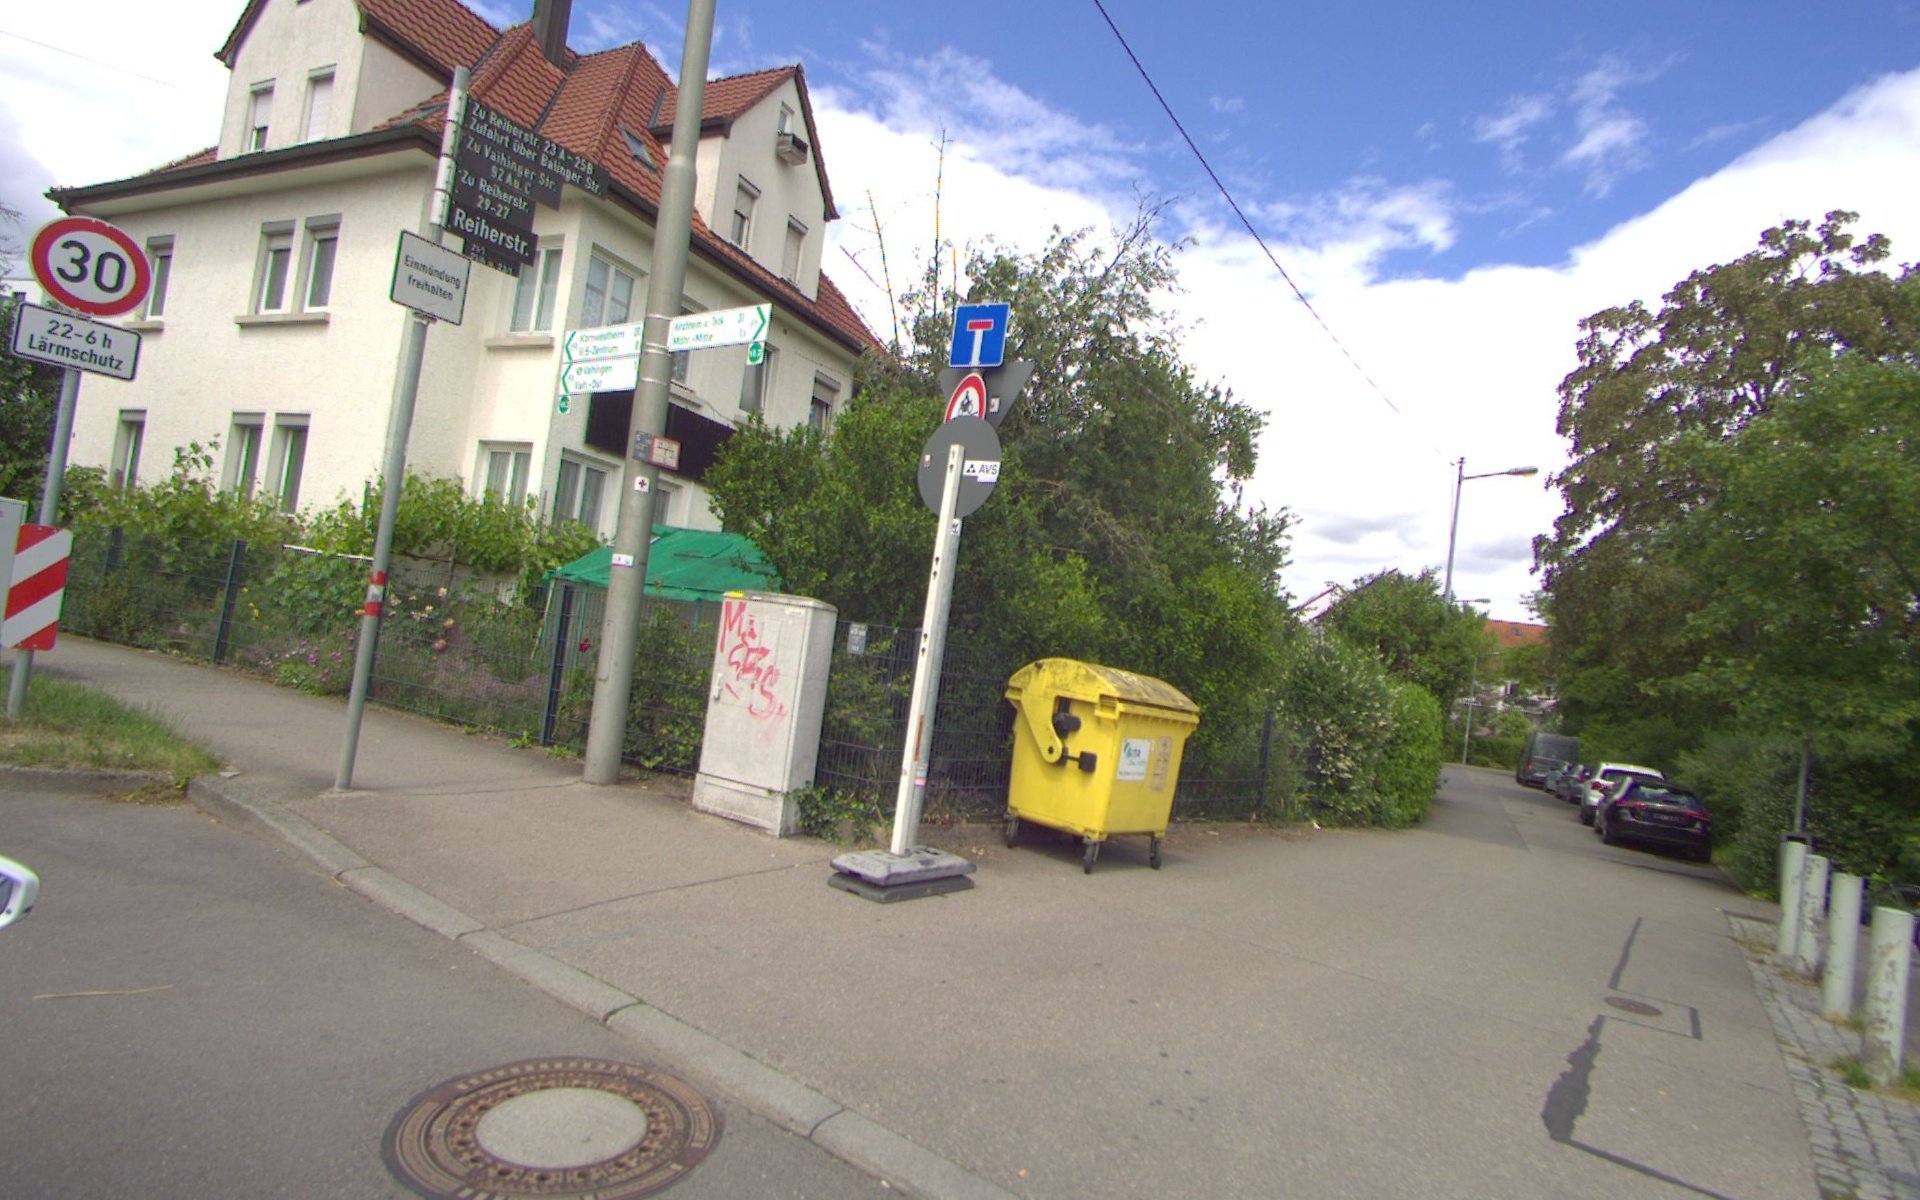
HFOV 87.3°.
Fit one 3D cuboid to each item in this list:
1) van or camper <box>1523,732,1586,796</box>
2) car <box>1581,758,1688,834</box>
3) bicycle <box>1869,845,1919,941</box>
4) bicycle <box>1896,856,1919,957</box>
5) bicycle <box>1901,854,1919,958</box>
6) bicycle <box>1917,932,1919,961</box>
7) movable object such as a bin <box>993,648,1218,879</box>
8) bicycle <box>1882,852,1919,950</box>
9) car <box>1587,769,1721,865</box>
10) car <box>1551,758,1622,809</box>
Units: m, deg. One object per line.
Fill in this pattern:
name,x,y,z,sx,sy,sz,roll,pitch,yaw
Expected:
van or camper,27.200,7.473,45.959,2.089,2.424,4.453,7,-4,33
car,16.885,4.855,25.291,1.968,1.390,3.996,6,-4,33
bicycle,12.001,3.564,11.377,2.433,0.991,0.567,6,-3,38
bicycle,11.127,3.367,10.079,2.433,0.991,0.567,6,-3,38
bicycle,10.707,3.217,9.575,2.433,0.991,0.567,6,-3,38
bicycle,10.331,3.120,9.002,2.433,0.991,0.567,6,-3,38
movable object such as a bin,1.130,1.226,7.687,0.991,1.486,1.267,6,-4,43
bicycle,11.577,3.486,10.735,2.433,0.991,0.567,6,-3,38
car,14.209,4.374,20.756,1.968,1.390,3.996,6,-4,33
car,22.628,6.568,36.316,1.968,1.390,3.996,6,-4,33
